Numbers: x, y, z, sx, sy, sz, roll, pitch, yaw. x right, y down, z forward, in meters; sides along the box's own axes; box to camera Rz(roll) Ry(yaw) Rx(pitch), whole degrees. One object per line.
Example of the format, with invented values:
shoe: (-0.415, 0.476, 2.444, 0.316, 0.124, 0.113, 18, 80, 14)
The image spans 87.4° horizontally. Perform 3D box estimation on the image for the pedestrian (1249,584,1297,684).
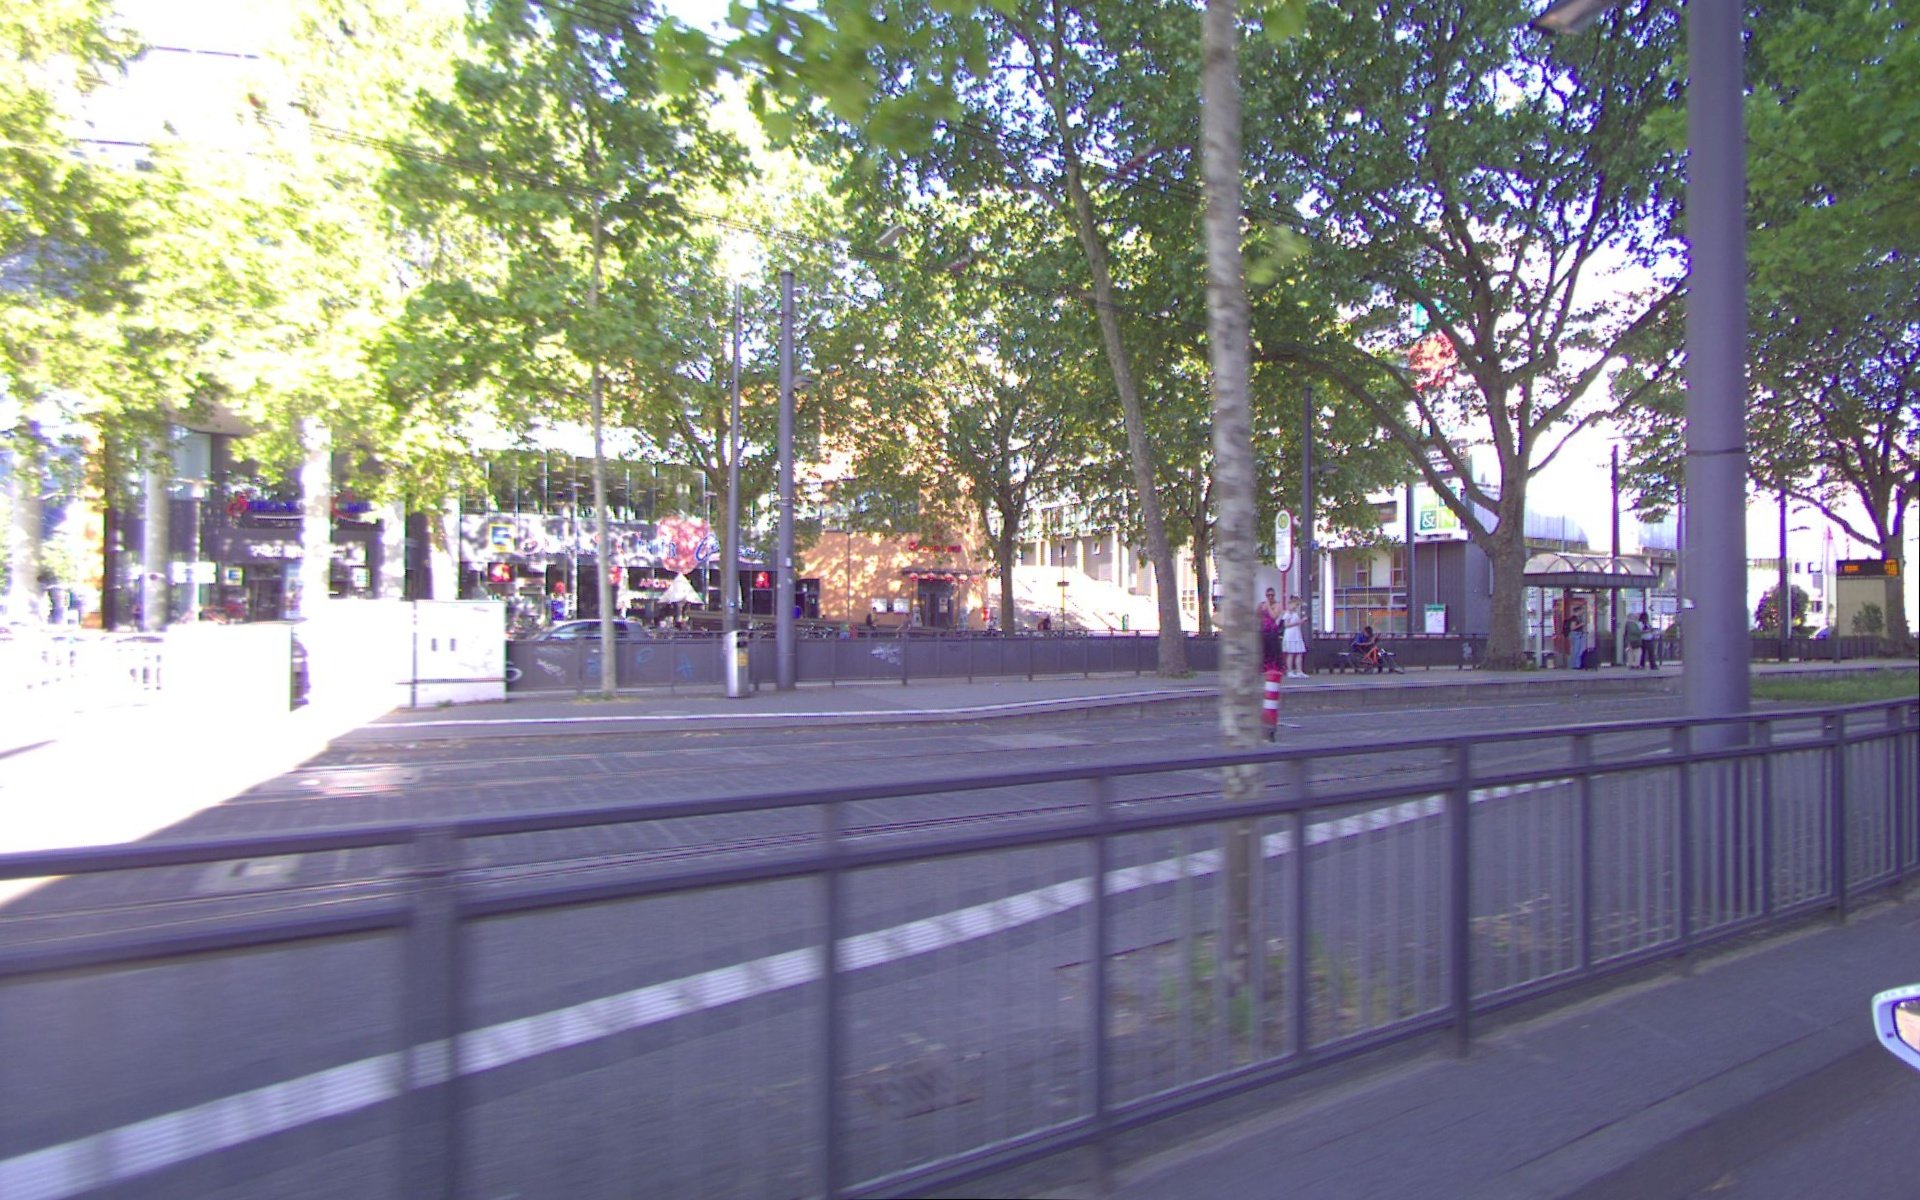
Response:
pedestrian: (5.854, 0.632, 18.819, 0.730, 1.853, 0.593, 0, -1, 2)

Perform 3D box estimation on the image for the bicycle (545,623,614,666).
bicycle: (-12.871, 1.481, 33.925, 1.027, 1.371, 3.320, 1, -2, -42)

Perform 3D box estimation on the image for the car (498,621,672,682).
car: (-9.489, 1.297, 25.457, 3.950, 1.425, 1.659, 2, -1, -28)

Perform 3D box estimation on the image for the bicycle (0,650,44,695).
bicycle: (-25.283, 1.877, 25.900, 2.337, 1.143, 0.594, 1, -2, -28)

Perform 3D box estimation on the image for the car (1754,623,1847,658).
car: (35.781, 1.719, 42.749, 3.949, 1.425, 1.660, 2, -1, -28)

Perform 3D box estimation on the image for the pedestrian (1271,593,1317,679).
pedestrian: (7.211, 0.767, 21.690, 0.732, 1.824, 0.591, 0, -1, -14)

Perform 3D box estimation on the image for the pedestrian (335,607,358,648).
pedestrian: (-25.190, 1.117, 41.234, 0.688, 1.674, 0.702, 1, -1, -23)

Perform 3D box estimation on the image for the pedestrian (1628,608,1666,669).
pedestrian: (18.535, 1.031, 27.092, 0.629, 1.594, 0.563, -1, 0, -17)

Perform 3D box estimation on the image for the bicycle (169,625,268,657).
bicycle: (-26.263, 1.458, 35.637, 2.646, 1.118, 0.893, 1, -2, -14)

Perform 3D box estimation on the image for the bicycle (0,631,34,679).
bicycle: (-23.746, 1.310, 23.959, 2.337, 1.143, 0.594, 1, -2, -28)

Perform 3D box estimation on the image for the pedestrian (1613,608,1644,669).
pedestrian: (17.956, 1.021, 26.963, 0.487, 1.594, 0.499, -1, 0, -26)

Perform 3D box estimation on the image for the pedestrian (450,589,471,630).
pedestrian: (-21.844, 0.431, 43.953, 0.694, 1.791, 0.696, 0, -1, -17)

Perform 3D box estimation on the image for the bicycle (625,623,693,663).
bicycle: (-10.913, 1.517, 36.296, 1.027, 1.371, 3.320, 1, -2, -42)

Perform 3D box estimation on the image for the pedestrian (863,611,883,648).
pedestrian: (-3.956, 1.325, 45.738, 0.697, 1.674, 0.693, 1, -1, -29)

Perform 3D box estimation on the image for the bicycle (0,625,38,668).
bicycle: (-25.851, 1.224, 26.350, 2.337, 1.143, 0.594, 1, -2, -28)

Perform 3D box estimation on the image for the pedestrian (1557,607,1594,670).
pedestrian: (15.844, 0.981, 25.860, 0.658, 1.594, 0.486, -1, 0, 13)

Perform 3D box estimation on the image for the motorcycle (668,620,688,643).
motorcycle: (-13.595, 1.519, 48.441, 0.819, 1.072, 2.334, 1, -1, -18)

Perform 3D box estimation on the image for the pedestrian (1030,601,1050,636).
pedestrian: (3.915, 0.911, 49.077, 0.697, 1.674, 0.693, 1, -1, -29)

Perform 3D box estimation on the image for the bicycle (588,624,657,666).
bicycle: (-11.761, 1.546, 34.947, 1.027, 1.371, 3.320, 1, -2, -42)

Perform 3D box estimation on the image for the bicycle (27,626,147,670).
bicycle: (-23.611, 1.293, 27.230, 2.337, 1.143, 0.594, 1, -2, -28)

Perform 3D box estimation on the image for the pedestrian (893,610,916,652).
pedestrian: (-2.258, 1.263, 40.629, 0.697, 1.674, 0.693, 1, -1, -29)

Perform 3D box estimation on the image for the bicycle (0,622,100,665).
bicycle: (-25.144, 1.187, 27.493, 2.337, 1.143, 0.594, 1, -2, -28)

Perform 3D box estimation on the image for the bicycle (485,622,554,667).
bicycle: (-14.259, 1.391, 32.463, 1.027, 1.371, 3.320, 1, -2, -42)

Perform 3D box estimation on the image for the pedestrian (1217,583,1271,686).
pedestrian: (5.209, 0.624, 18.407, 0.737, 1.853, 0.630, 1, -1, -34)

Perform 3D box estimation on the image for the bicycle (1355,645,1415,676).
bicycle: (10.102, 1.424, 23.881, 1.675, 0.698, 0.391, 1, -1, -30)

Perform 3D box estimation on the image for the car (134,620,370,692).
car: (-15.160, 1.196, 21.780, 3.950, 1.425, 1.659, 2, -1, -28)

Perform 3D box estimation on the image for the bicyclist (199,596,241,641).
bicyclist: (-26.263, 0.674, 35.663, 0.923, 1.569, 0.893, 1, -2, -15)

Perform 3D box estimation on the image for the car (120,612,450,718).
car: (-10.063, 0.948, 15.347, 3.953, 1.433, 1.658, 2, -2, -30)

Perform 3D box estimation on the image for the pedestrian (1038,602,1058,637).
pedestrian: (4.252, 0.949, 48.402, 0.697, 1.674, 0.693, 1, -1, -29)

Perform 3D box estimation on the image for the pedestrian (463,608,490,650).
pedestrian: (-19.494, 1.178, 40.484, 0.693, 1.674, 0.697, 0, -1, 28)

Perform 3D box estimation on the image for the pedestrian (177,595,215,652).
pedestrian: (-22.895, 0.714, 30.103, 0.707, 1.702, 0.826, 1, -3, -26)

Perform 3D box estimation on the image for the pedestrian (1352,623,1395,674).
pedestrian: (9.891, 1.153, 24.033, 0.732, 1.179, 0.591, 0, -1, -14)
